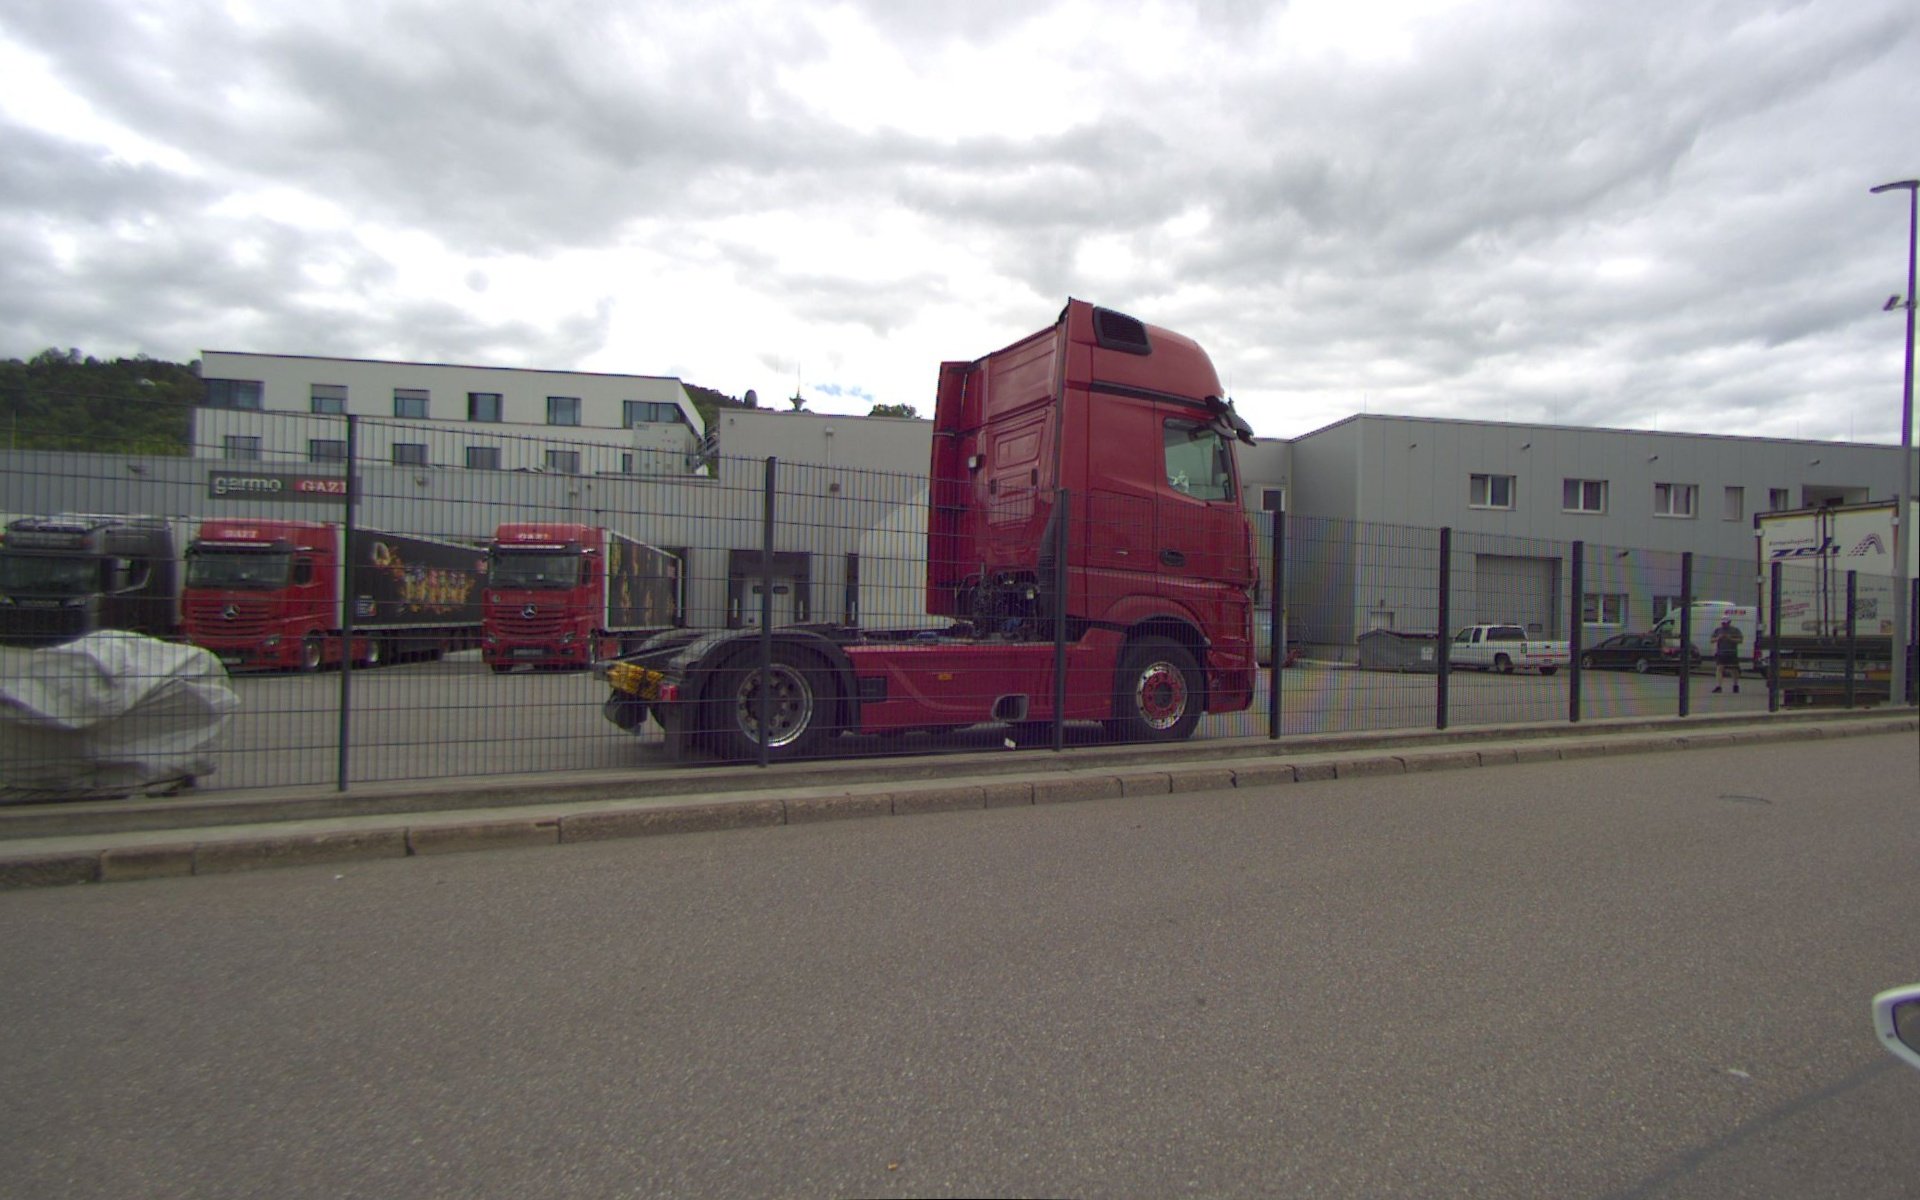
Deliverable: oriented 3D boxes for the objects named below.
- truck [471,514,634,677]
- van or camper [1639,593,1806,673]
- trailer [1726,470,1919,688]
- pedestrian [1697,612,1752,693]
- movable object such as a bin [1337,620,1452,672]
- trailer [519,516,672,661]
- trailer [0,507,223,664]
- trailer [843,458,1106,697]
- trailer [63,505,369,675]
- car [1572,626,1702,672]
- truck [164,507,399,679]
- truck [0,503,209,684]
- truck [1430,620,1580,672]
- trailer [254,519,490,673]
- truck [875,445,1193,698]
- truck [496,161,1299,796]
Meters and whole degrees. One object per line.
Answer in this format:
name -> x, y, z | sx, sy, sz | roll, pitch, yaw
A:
truck -> -11.016, -0.047, 27.798 | 2.751, 3.980, 5.917 | 1, -1, -9
van or camper -> 28.765, 1.223, 38.143 | 2.066, 2.799, 4.979 | 1, -1, -10
trailer -> 24.161, -0.132, 24.288 | 13.838, 4.315, 3.123 | 2, -5, -27
pedestrian -> 17.850, 1.206, 23.458 | 0.813, 1.854, 0.696 | 1, 0, -25
movable object such as a bin -> 15.814, 1.646, 36.774 | 2.116, 1.759, 3.995 | 1, -1, -7
trailer -> -12.059, -0.236, 34.413 | 2.742, 4.131, 10.980 | 1, -1, -9
trailer -> -27.523, -0.346, 30.699 | 3.035, 4.131, 11.393 | 1, -1, -9
trailer -> -0.472, -0.300, 24.970 | 2.985, 4.239, 13.979 | 1, -1, -14
trailer -> -22.520, -0.157, 31.597 | 2.742, 4.358, 11.165 | 1, -1, -9
car -> 25.896, 1.839, 38.592 | 1.964, 1.572, 3.994 | 1, -1, -9
truck -> -17.632, -0.109, 26.651 | 2.751, 3.980, 5.917 | 1, -1, -9
truck -> -21.501, -0.120, 24.989 | 2.751, 4.093, 4.159 | 1, -1, -9
truck -> 19.391, 1.599, 36.043 | 2.187, 1.674, 4.922 | 1, -1, -9
trailer -> -18.583, -0.016, 32.889 | 2.742, 4.131, 10.980 | 1, -1, -9
truck -> 1.259, -0.435, 19.246 | 2.911, 4.074, 5.544 | 2, -1, -43
truck -> -0.437, -0.692, 9.367 | 6.855, 4.074, 2.910 | 2, -1, -28
